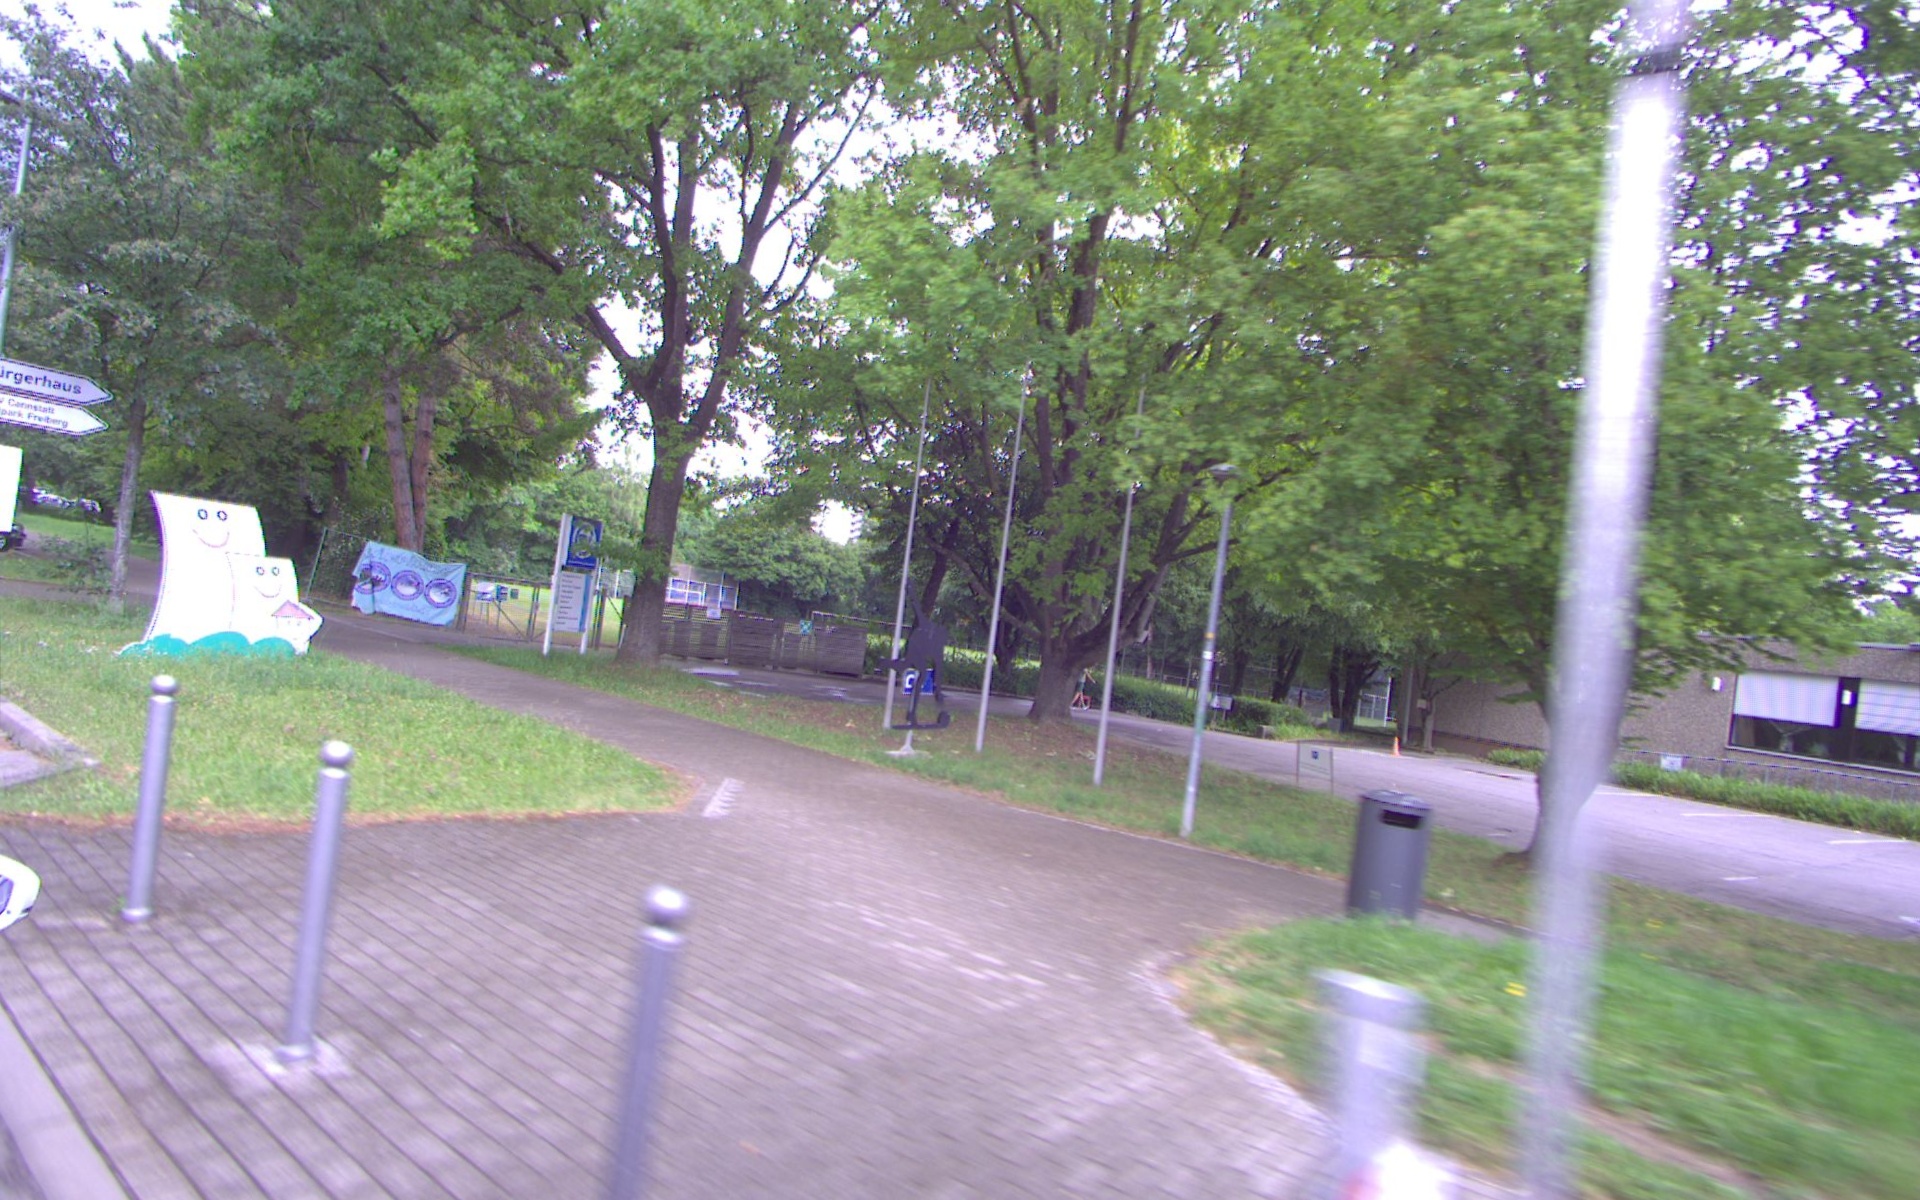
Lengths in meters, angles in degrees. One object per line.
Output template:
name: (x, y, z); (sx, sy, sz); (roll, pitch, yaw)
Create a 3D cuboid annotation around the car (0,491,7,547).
car: (-28.910, -2.513, 27.310); (1.795, 1.587, 4.064); (5, -2, 36)

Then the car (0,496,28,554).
car: (-26.810, -2.185, 25.674); (1.969, 1.451, 4.064); (5, -2, 36)

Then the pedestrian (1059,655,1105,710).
pedestrian: (4.062, 2.756, 33.550); (1.138, 1.694, 0.788); (6, -1, -28)
